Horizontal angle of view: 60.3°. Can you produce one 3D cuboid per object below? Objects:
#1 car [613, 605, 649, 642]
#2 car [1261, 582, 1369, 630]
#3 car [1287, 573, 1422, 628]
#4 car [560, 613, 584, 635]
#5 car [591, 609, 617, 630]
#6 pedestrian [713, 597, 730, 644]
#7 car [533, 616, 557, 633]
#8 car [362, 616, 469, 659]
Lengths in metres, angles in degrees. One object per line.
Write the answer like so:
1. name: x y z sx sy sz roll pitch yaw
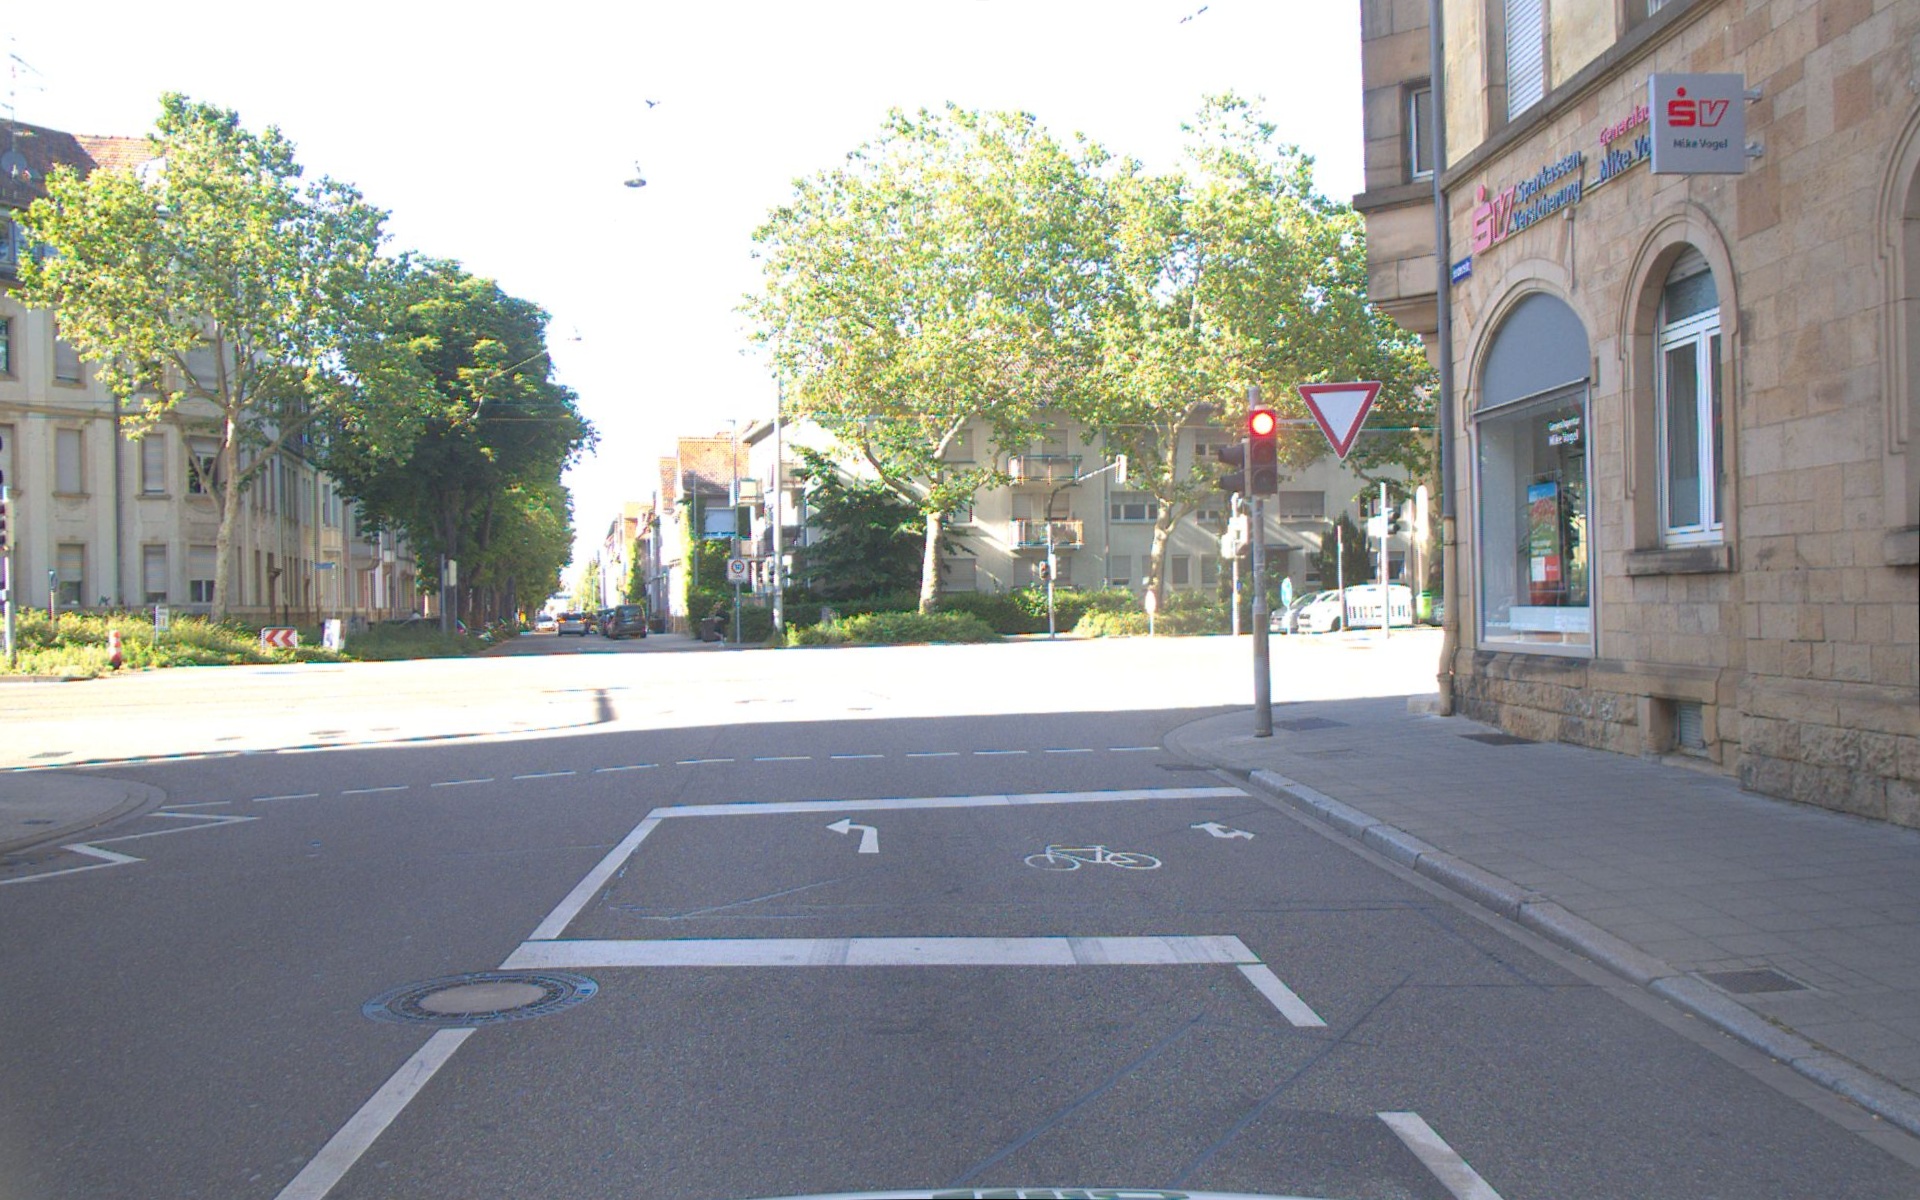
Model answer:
1. car: -19.293 1.348 97.168 1.958 2.049 3.989 -2 0 -11
2. car: 12.173 0.202 56.725 3.334 1.513 1.514 -2 0 -24
3. car: 11.923 0.010 49.984 3.734 1.498 1.619 -2 0 -22
4. car: -27.669 1.724 117.856 1.645 1.508 3.509 0 -1 -14
5. car: -31.899 1.737 148.287 1.962 1.865 3.981 0 -1 -17
6. pedestrian: -9.093 0.795 63.043 0.621 1.780 0.658 0 -1 -6
7. car: -37.357 2.187 148.974 1.961 1.471 3.983 -2 1 -15
8. car: -21.386 1.455 64.992 3.929 1.512 1.672 -2 0 -20
